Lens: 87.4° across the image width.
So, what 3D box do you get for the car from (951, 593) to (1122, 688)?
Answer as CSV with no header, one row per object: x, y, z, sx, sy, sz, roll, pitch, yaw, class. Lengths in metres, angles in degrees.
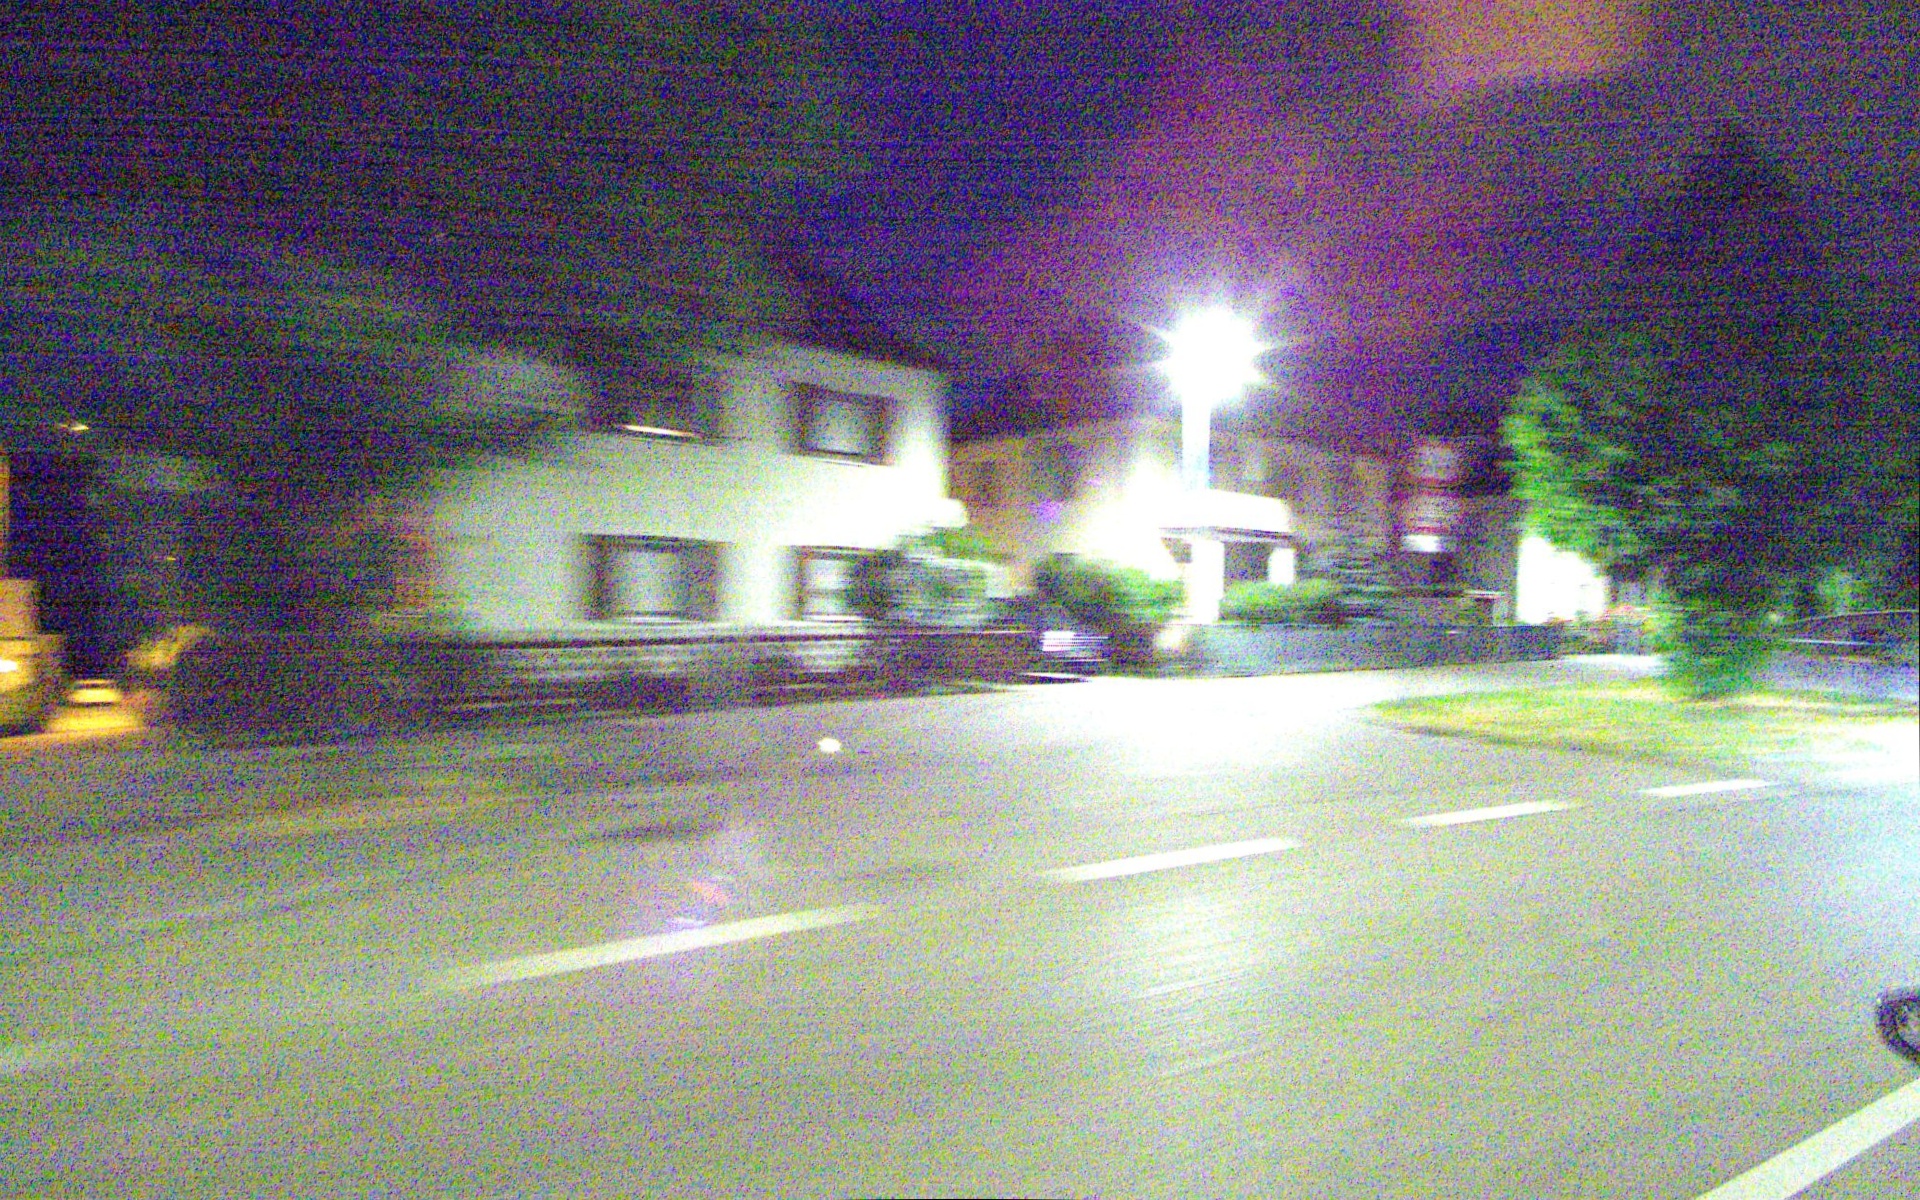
1.382,0.719,19.588,1.758,1.649,3.702,1,0,-25,car
